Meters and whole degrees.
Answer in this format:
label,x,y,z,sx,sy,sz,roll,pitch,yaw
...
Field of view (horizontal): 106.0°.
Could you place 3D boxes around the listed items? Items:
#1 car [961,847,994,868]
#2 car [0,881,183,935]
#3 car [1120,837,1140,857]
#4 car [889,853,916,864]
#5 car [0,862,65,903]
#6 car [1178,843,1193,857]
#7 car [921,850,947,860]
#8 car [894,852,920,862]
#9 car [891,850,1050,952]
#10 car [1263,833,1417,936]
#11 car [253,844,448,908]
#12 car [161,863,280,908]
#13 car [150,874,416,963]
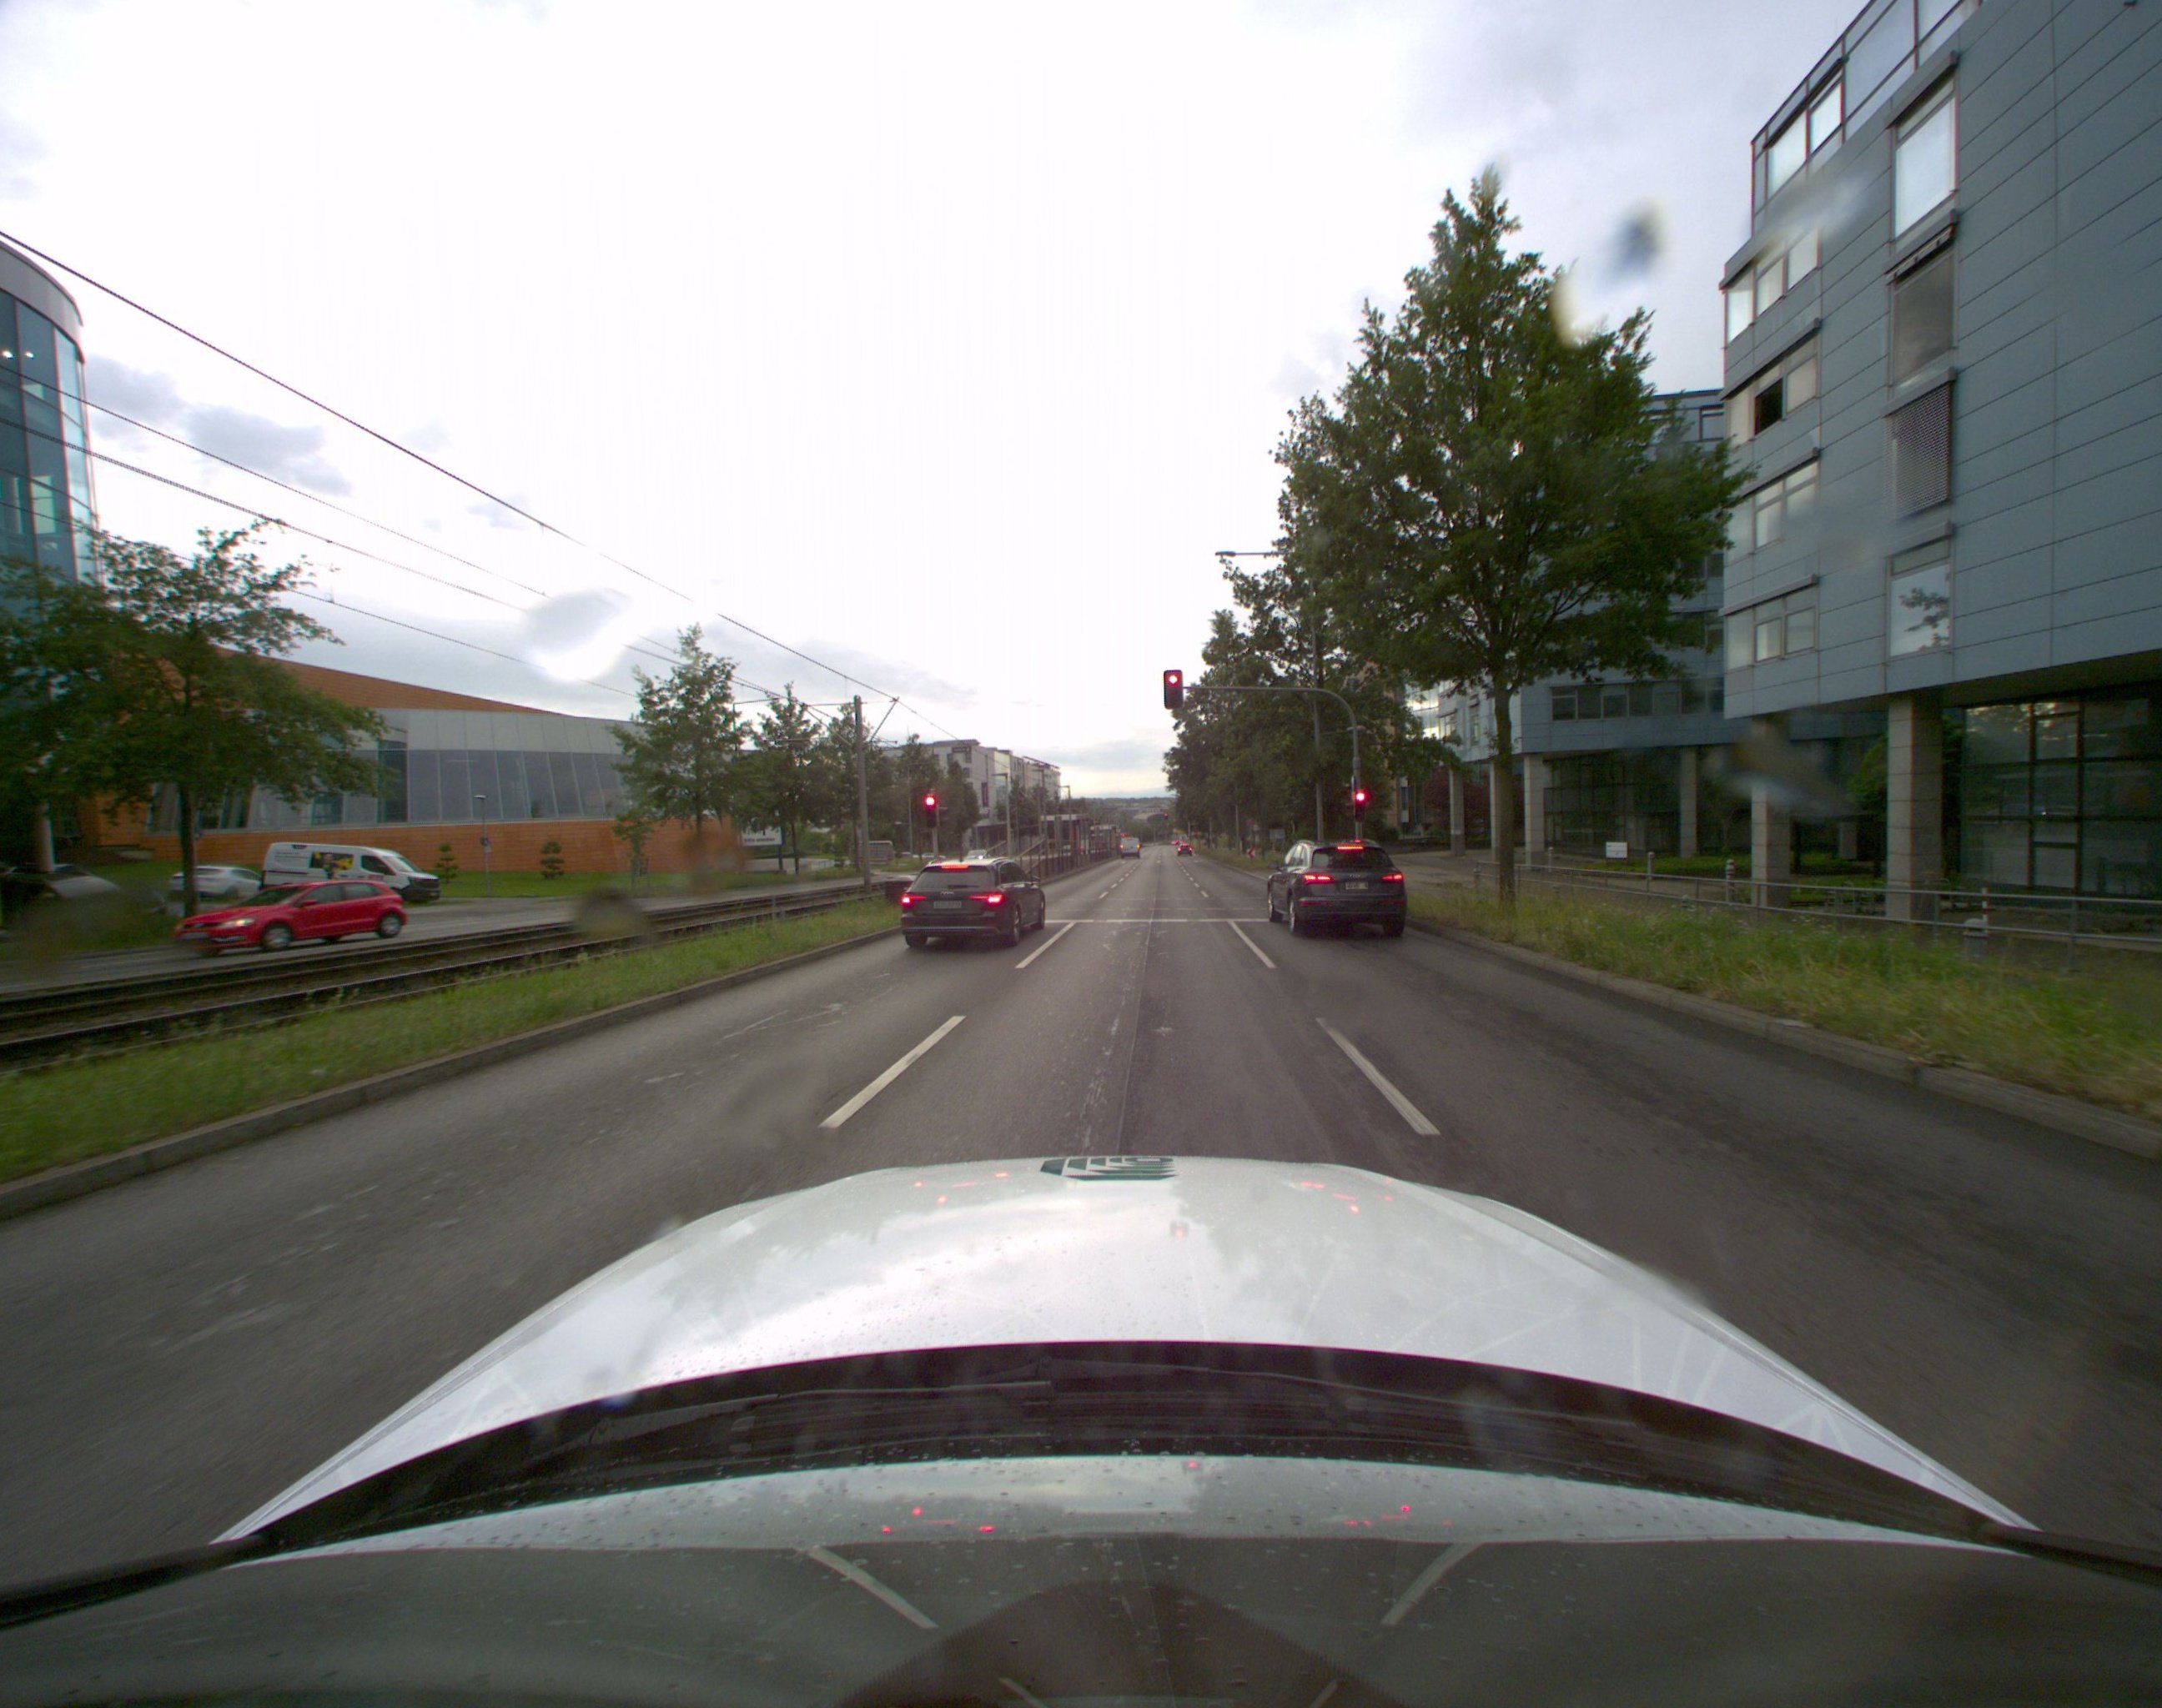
label,x,y,z,sx,sy,sz,roll,pitch,yaw
car,-9.455,0.259,74.763,1.985,1.719,4.846,-3,0,4
car,-29.767,1.590,24.495,3.633,1.391,1.580,-1,1,-1
car,5.479,-0.802,90.284,2.083,2.053,4.613,-1,0,5
car,-24.864,0.621,113.425,3.339,1.387,1.441,-1,1,22
car,-44.434,1.183,33.043,1.997,1.632,3.979,-2,1,-15
car,13.005,-0.466,101.522,1.765,1.691,3.851,-1,0,5
car,-24.372,0.222,134.884,3.852,1.436,1.656,-4,0,2
car,-29.393,0.526,137.661,4.088,1.436,1.650,-4,0,-10
car,-1.736,0.701,14.378,1.772,1.466,4.520,-1,0,5
car,4.615,0.468,15.210,1.809,1.612,4.477,-1,0,5
car,-30.613,0.902,34.361,5.609,2.581,2.396,1,0,-13
car,-35.548,1.254,33.773,1.729,1.665,3.728,-1,0,-17
car,-17.338,1.312,18.023,1.577,1.513,4.106,-4,0,4
